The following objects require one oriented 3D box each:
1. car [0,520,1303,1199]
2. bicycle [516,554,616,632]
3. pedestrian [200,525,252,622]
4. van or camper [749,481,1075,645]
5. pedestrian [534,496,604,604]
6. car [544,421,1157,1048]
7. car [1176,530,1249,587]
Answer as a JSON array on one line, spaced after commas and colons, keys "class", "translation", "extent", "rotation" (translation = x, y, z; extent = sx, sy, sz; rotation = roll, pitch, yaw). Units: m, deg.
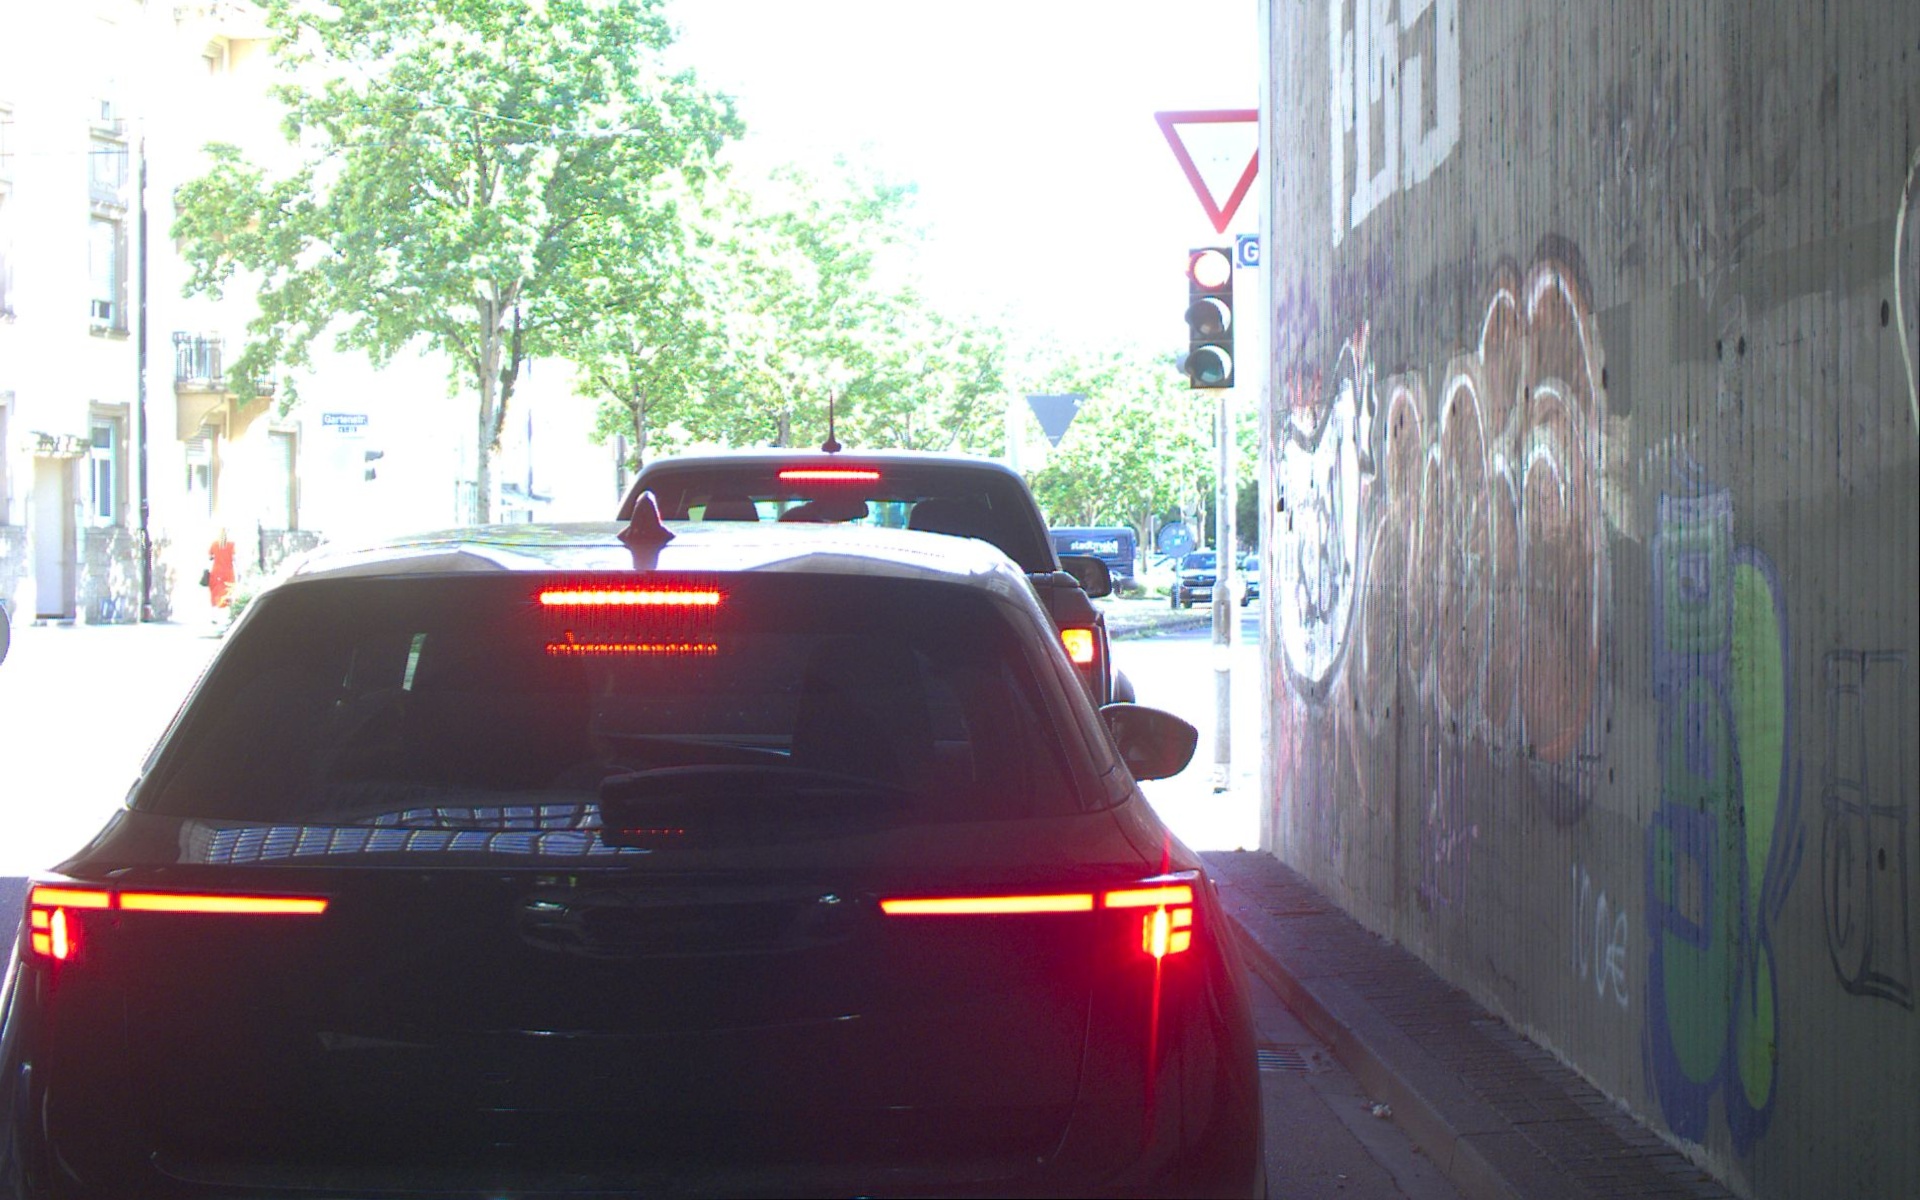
[{"class": "car", "translation": [-0.486, 0.623, 6.136], "extent": [1.753, 1.493, 4.000], "rotation": [1, 1, 0]}, {"class": "bicycle", "translation": [-5.868, -0.109, 51.315], "extent": [0.737, 1.126, 2.025], "rotation": [0, 1, 17]}, {"class": "pedestrian", "translation": [-13.084, -0.470, 61.310], "extent": [0.623, 1.699, 0.722], "rotation": [1, 0, 15]}, {"class": "van or camper", "translation": [-0.576, -0.473, 43.540], "extent": [3.878, 2.007, 2.000], "rotation": [0, 1, 7]}, {"class": "pedestrian", "translation": [-5.843, -0.743, 51.390], "extent": [0.736, 1.579, 0.889], "rotation": [1, 0, 15]}, {"class": "car", "translation": [-0.339, 0.358, 12.097], "extent": [1.786, 1.827, 3.961], "rotation": [1, 1, 0]}, {"class": "car", "translation": [6.642, -1.108, 90.281], "extent": [1.599, 1.447, 3.794], "rotation": [0, 1, 9]}]
